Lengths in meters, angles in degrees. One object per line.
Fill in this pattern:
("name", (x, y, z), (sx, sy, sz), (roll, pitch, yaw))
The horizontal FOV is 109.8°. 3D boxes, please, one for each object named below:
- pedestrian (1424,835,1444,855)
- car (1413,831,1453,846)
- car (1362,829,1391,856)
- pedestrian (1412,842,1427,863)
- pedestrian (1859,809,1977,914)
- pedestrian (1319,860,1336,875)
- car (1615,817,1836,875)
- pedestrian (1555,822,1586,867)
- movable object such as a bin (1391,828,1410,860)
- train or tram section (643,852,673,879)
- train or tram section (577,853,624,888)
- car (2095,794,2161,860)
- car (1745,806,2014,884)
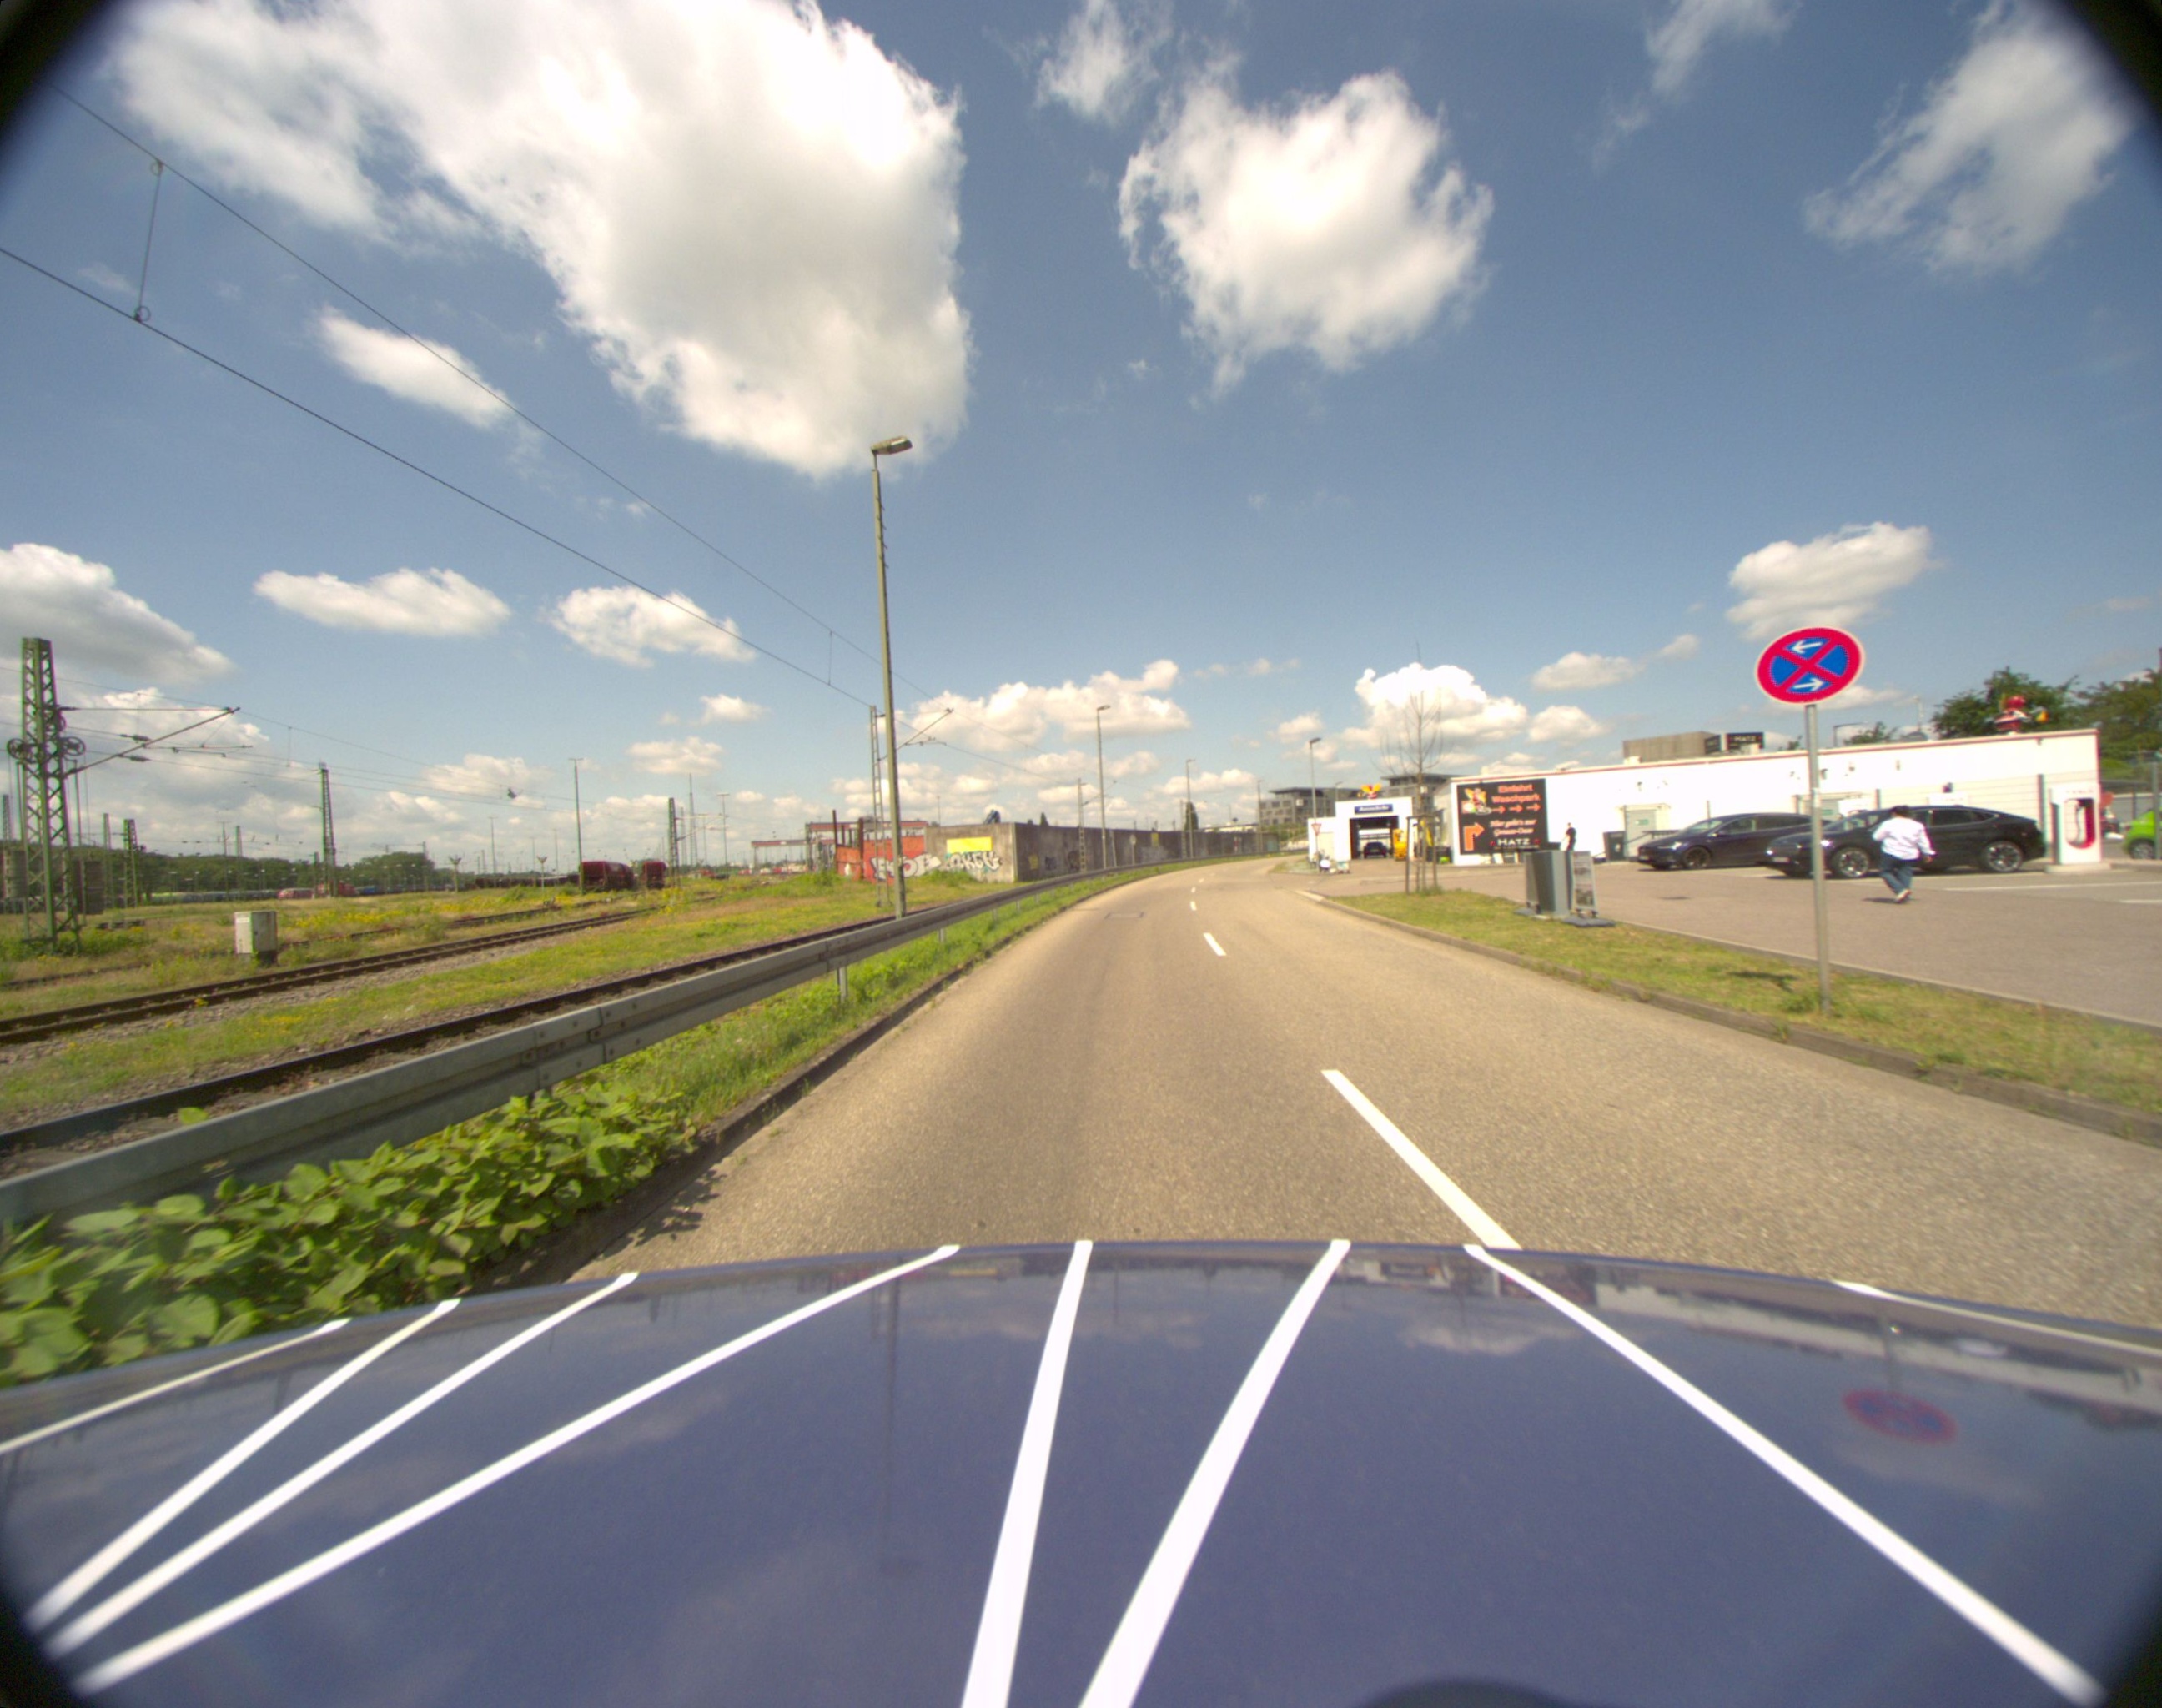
("pedestrian", (23.489, -0.606, 50.574), (0.940, 1.300, 0.865), (-3, 0, 3))
("car", (46.235, -2.034, 99.877), (2.003, 1.822, 4.405), (-3, 1, -31))
("car", (24.695, -0.956, 63.594), (1.996, 2.097, 5.016), (-2, 1, 19))
("pedestrian", (20.979, -0.088, 47.127), (0.754, 1.249, 0.900), (-3, 0, 22))
("pedestrian", (13.843, 0.122, 12.604), (0.864, 1.643, 0.941), (-3, 0, 8))
("pedestrian", (13.429, 0.726, 41.372), (0.863, 0.755, 0.819), (-2, 0, 19))
("car", (19.982, -0.225, 23.806), (4.754, 1.447, 2.239), (-3, 0, 8))
("pedestrian", (22.758, -0.460, 35.367), (0.939, 2.003, 0.865), (-3, 3, 15))
("movable object such as a bin", (22.462, -0.718, 53.464), (1.064, 2.140, 2.707), (-3, 2, 20))
("train or tram section", (-63.337, 1.826, 113.996), (3.210, 3.695, 12.526), (-3, 0, -26))
("train or tram section", (-57.260, 1.997, 90.937), (3.306, 3.695, 12.526), (-3, 0, -26))
("car", (25.361, -0.639, 16.358), (1.919, 1.474, 4.303), (-3, 1, 14))
("car", (18.804, -0.210, 18.115), (3.994, 1.510, 2.001), (-3, 1, 10))
